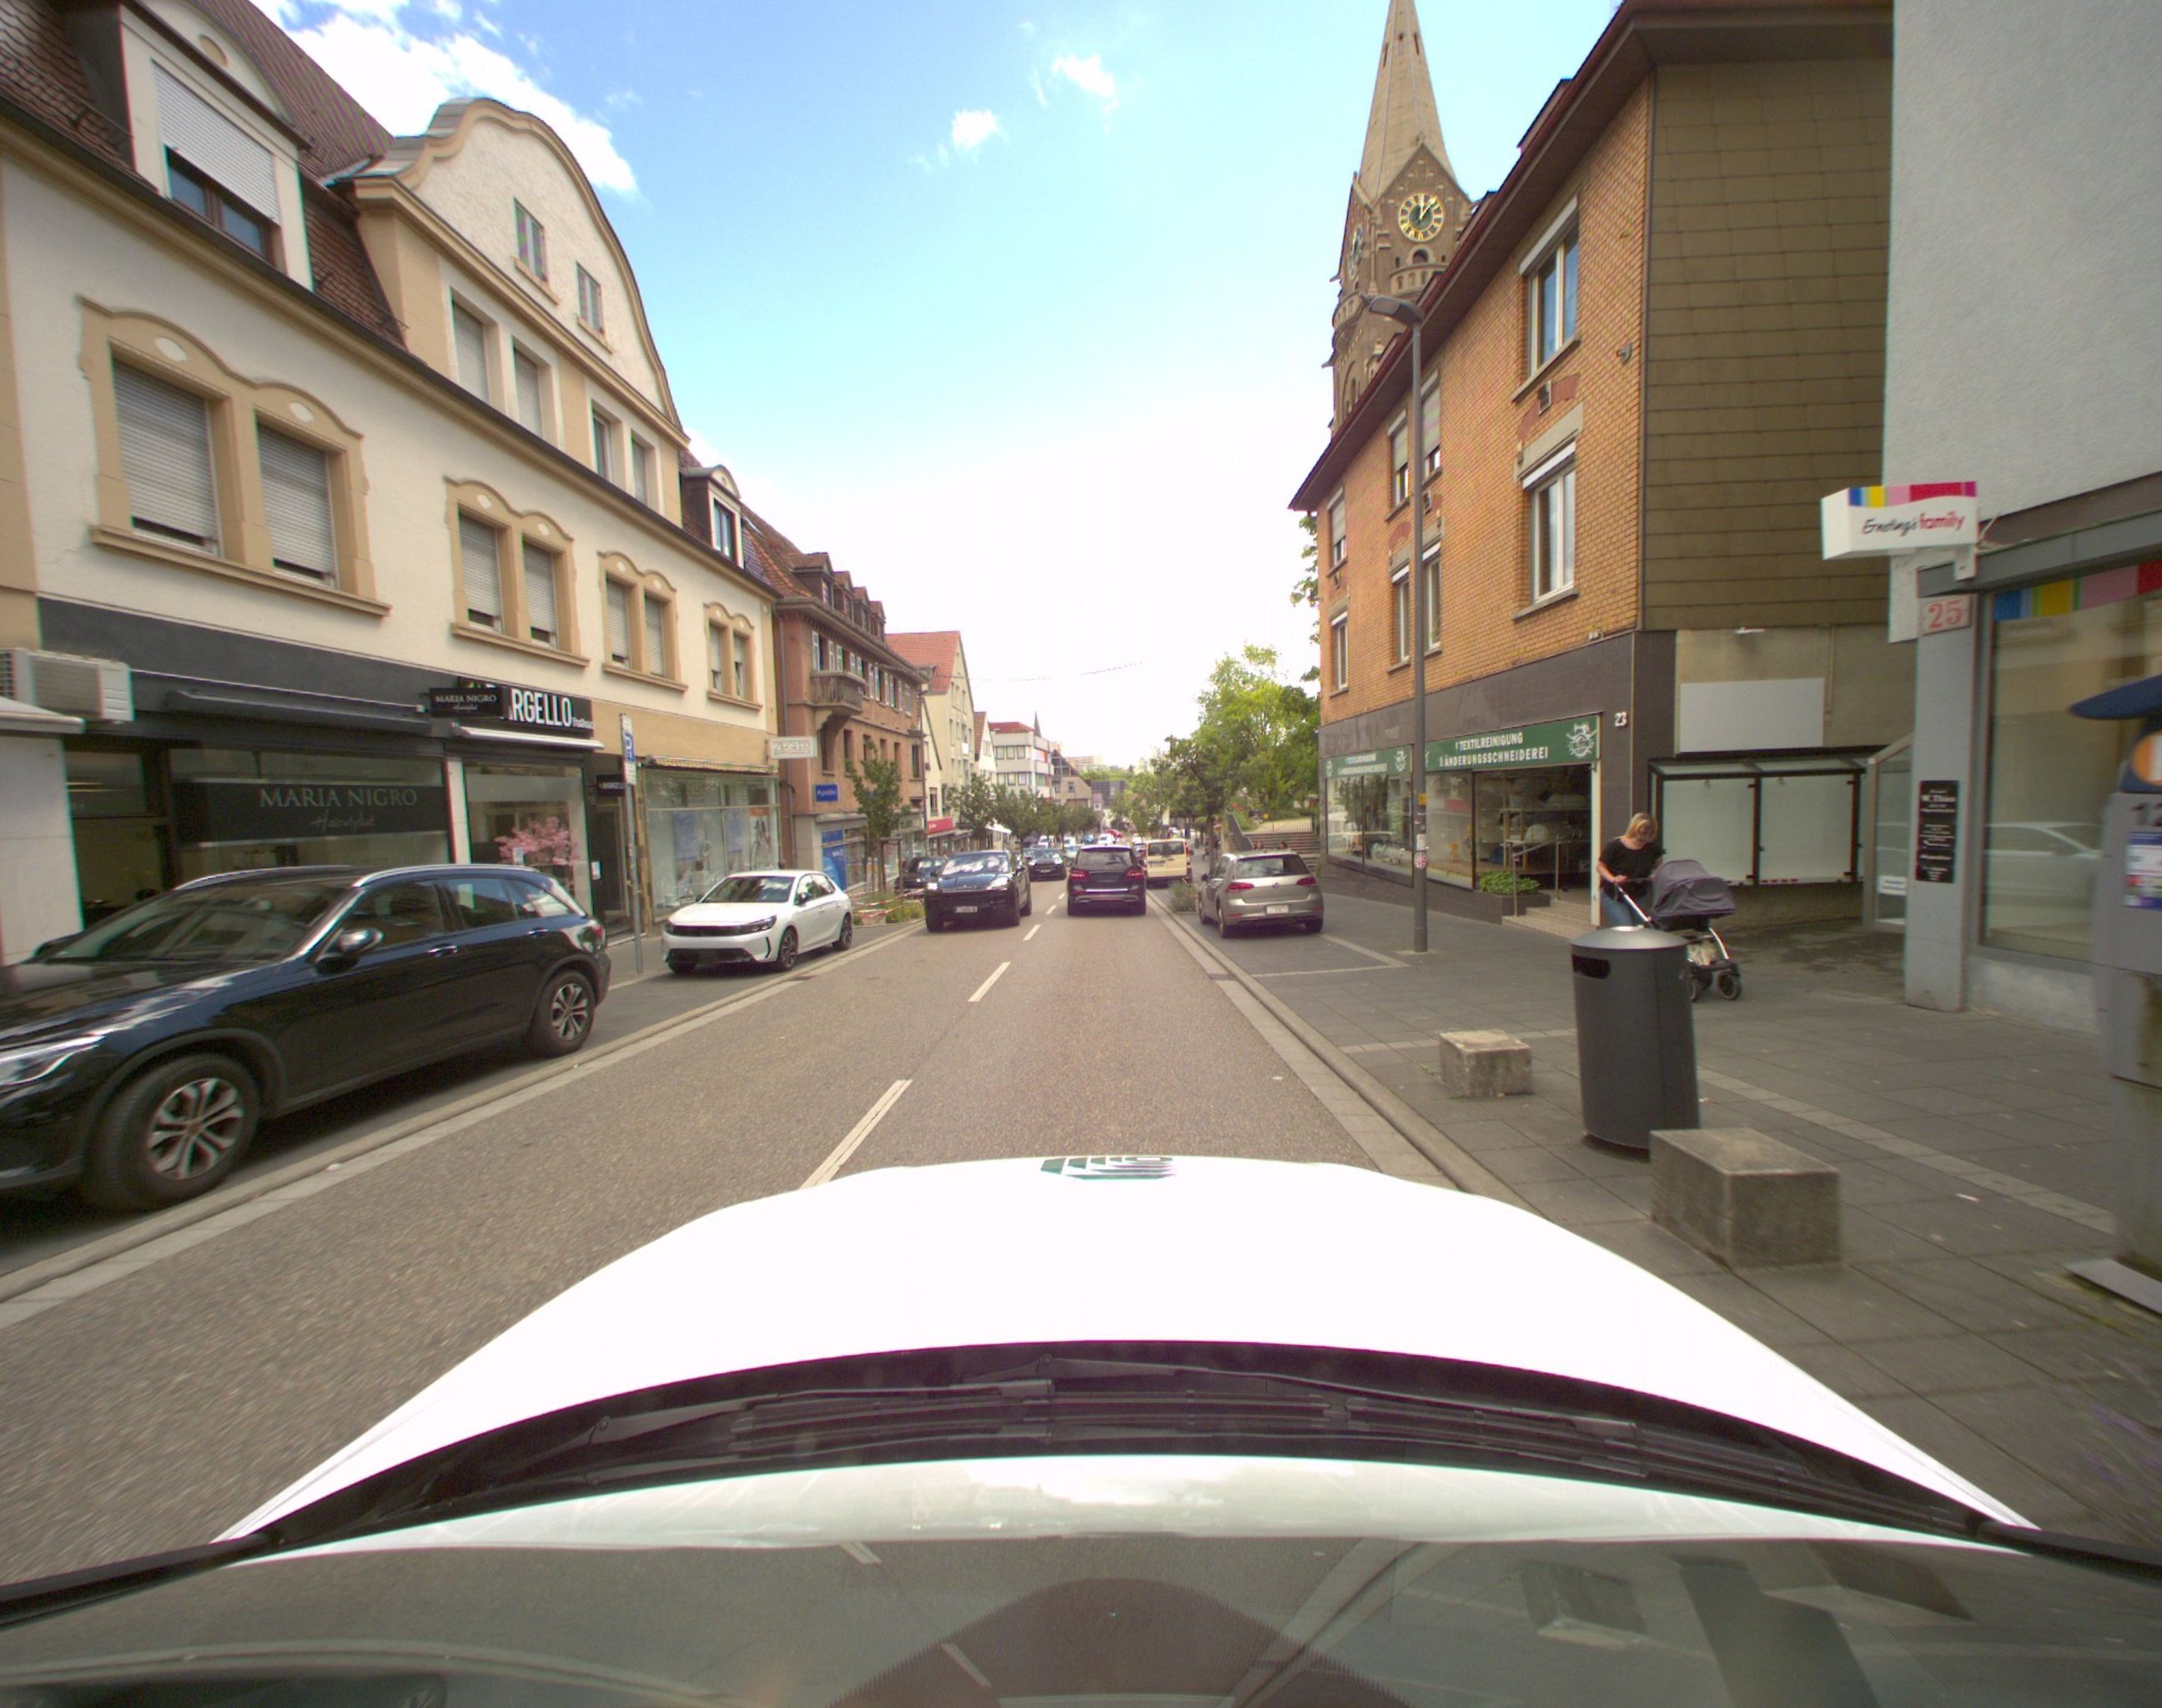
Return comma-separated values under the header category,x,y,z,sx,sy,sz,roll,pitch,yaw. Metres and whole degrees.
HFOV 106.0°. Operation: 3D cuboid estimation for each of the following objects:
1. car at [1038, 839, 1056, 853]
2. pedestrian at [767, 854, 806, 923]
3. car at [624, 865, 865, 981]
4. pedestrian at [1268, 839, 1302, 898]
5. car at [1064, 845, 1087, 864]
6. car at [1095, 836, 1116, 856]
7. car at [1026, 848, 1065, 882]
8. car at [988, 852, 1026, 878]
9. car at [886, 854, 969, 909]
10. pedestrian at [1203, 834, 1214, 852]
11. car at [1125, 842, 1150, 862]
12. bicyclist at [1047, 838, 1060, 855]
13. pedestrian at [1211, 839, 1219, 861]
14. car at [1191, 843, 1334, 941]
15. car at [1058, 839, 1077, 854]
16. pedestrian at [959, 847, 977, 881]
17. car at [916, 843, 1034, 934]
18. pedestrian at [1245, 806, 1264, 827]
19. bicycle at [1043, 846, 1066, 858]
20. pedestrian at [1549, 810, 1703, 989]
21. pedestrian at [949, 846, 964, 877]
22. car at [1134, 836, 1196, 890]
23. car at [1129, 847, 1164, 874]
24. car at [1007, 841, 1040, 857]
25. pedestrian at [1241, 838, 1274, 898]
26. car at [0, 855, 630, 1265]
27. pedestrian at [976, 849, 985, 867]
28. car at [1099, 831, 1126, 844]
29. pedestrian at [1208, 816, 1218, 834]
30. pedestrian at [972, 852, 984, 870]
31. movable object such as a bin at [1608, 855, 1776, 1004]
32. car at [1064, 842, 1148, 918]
category,x,y,z,sx,sy,sz,roll,pitch,yaw
car,-3.875,-0.968,94.468,1.920,1.628,4.414,0,1,0
pedestrian,-7.127,0.819,19.733,0.545,1.575,0.863,-3,1,1
car,-5.094,0.961,13.096,1.919,1.430,4.265,-1,1,2
pedestrian,5.851,0.409,23.381,0.670,1.632,0.669,-4,0,-1
car,-0.465,0.013,70.451,1.806,1.508,4.001,-3,0,1
car,3.103,-1.011,101.432,2.163,2.364,4.630,-2,0,6
car,-1.766,0.515,41.716,1.758,1.617,4.033,-2,0,1
car,-4.550,0.640,50.696,1.920,1.496,4.262,0,1,0
car,-4.915,0.820,26.617,1.921,1.496,4.260,-2,1,-1
pedestrian,13.895,-1.167,88.445,1.044,1.913,0.939,-4,0,8
car,4.643,-0.181,67.483,1.930,1.544,4.710,-2,1,2
bicyclist,-2.618,-0.722,78.099,0.967,1.609,0.724,-4,0,-25
pedestrian,10.024,-0.322,60.933,0.565,1.586,0.668,-2,0,10
car,3.234,0.611,15.349,1.742,1.465,4.075,-4,0,1
car,-1.442,-0.808,91.456,1.919,1.628,4.264,0,1,2
pedestrian,-5.582,0.481,40.272,0.725,1.667,0.720,-1,0,0
car,-2.274,0.684,18.677,1.985,1.718,4.447,-3,0,0
pedestrian,10.423,-2.255,48.927,0.986,1.231,0.984,-2,0,3
bicycle,-2.543,-0.204,78.133,1.967,1.057,0.706,-4,0,-26
pedestrian,5.285,0.411,7.969,0.733,1.585,1.000,-5,0,0
pedestrian,-6.772,0.381,44.245,0.639,1.667,0.720,-1,0,0
car,3.286,0.300,32.708,1.931,1.891,4.708,-4,1,1
car,4.012,0.383,50.512,1.930,1.457,4.710,-3,1,2
car,-7.169,-0.607,101.872,3.977,1.749,1.998,-4,0,-3
pedestrian,4.997,0.395,23.068,0.670,1.632,0.669,-4,0,-1
car,-5.283,0.842,5.419,1.920,1.621,4.639,-1,0,0
pedestrian,-7.460,0.285,60.512,0.563,1.281,0.759,-1,0,1
car,5.386,-2.871,140.055,4.143,2.029,1.799,-2,0,35
pedestrian,16.489,-3.615,101.636,1.003,2.151,1.073,-4,0,20
pedestrian,-7.488,0.508,59.171,0.684,1.281,0.676,-3,0,0
movable object such as a bin,5.286,0.618,7.104,0.719,1.158,0.907,-4,0,0
car,0.651,0.577,20.996,1.936,1.740,4.181,0,1,2
